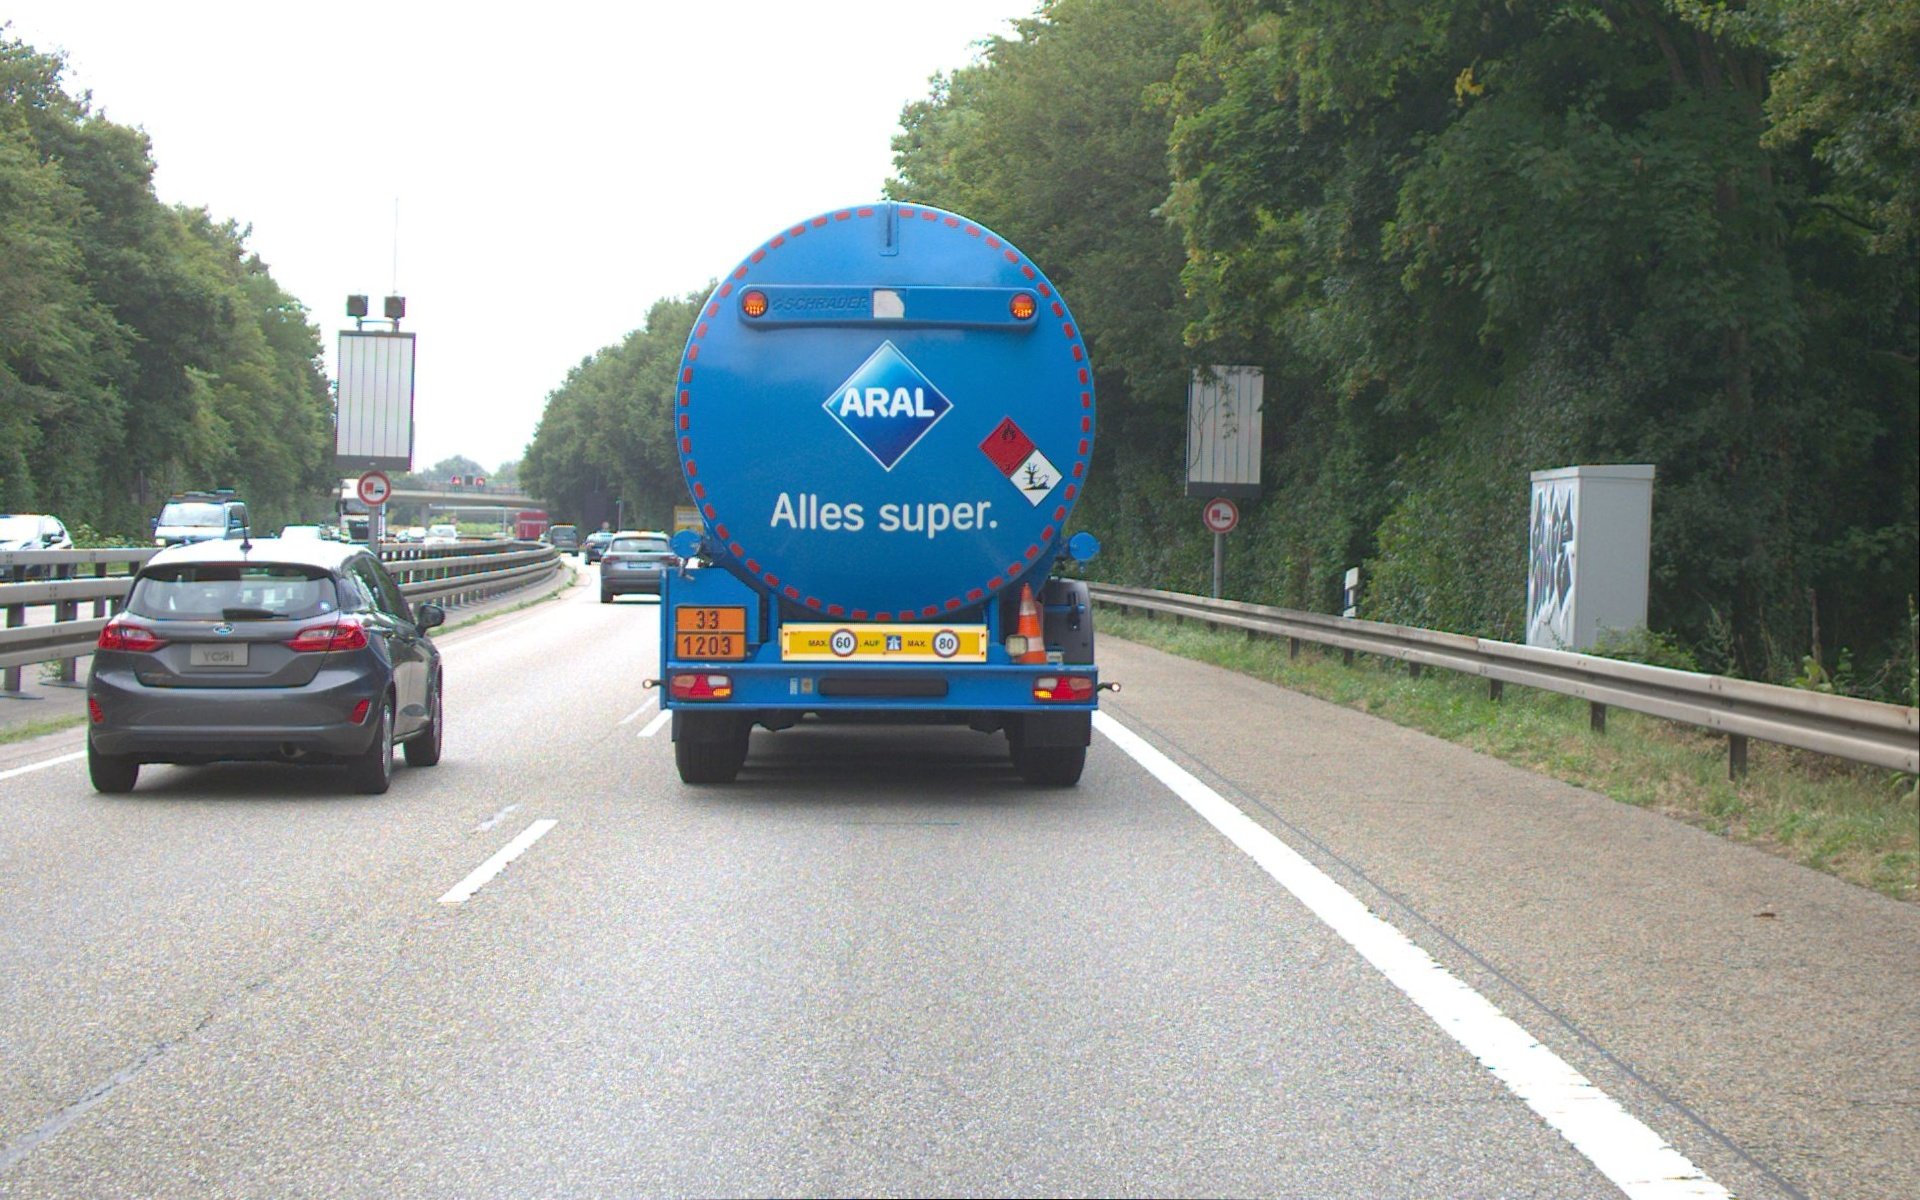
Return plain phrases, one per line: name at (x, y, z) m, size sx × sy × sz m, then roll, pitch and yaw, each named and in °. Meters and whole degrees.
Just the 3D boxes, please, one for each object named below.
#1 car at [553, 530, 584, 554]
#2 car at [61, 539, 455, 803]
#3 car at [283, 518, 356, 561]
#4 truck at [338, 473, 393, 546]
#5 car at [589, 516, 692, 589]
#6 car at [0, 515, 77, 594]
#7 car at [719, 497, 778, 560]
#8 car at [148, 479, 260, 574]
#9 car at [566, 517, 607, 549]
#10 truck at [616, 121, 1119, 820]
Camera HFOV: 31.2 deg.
car at (-25.289, -3.766, 222.069) m, size 1.993 × 1.546 × 4.001 m, roll 0°, pitch 1°, yaw -7°
car at (-4.206, 0.355, 21.264) m, size 1.826 × 1.453 × 4.640 m, roll 0°, pitch 1°, yaw -4°
car at (-22.421, -2.106, 120.465) m, size 1.993 × 1.476 × 4.132 m, roll 0°, pitch 1°, yaw -4°
truck at (-33.304, -5.034, 192.660) m, size 2.692 × 4.049 × 5.324 m, roll 0°, pitch 1°, yaw -6°
car at (-7.220, -1.072, 78.046) m, size 1.826 × 1.604 × 4.167 m, roll 0°, pitch 1°, yaw 2°
car at (-18.332, -0.885, 66.269) m, size 1.694 × 1.461 × 4.090 m, roll 0°, pitch 1°, yaw -2°
car at (-7.685, -2.568, 124.642) m, size 1.993 × 2.237 × 4.001 m, roll 0°, pitch 1°, yaw -5°
car at (-19.129, -1.848, 87.185) m, size 1.935 × 2.313 × 5.306 m, roll 0°, pitch 1°, yaw -3°
car at (-18.126, -3.255, 167.067) m, size 1.954 × 1.562 × 4.001 m, roll 0°, pitch 1°, yaw -6°
truck at (-0.661, -0.788, 22.760) m, size 2.755 × 3.833 × 7.689 m, roll 0°, pitch 1°, yaw -2°
